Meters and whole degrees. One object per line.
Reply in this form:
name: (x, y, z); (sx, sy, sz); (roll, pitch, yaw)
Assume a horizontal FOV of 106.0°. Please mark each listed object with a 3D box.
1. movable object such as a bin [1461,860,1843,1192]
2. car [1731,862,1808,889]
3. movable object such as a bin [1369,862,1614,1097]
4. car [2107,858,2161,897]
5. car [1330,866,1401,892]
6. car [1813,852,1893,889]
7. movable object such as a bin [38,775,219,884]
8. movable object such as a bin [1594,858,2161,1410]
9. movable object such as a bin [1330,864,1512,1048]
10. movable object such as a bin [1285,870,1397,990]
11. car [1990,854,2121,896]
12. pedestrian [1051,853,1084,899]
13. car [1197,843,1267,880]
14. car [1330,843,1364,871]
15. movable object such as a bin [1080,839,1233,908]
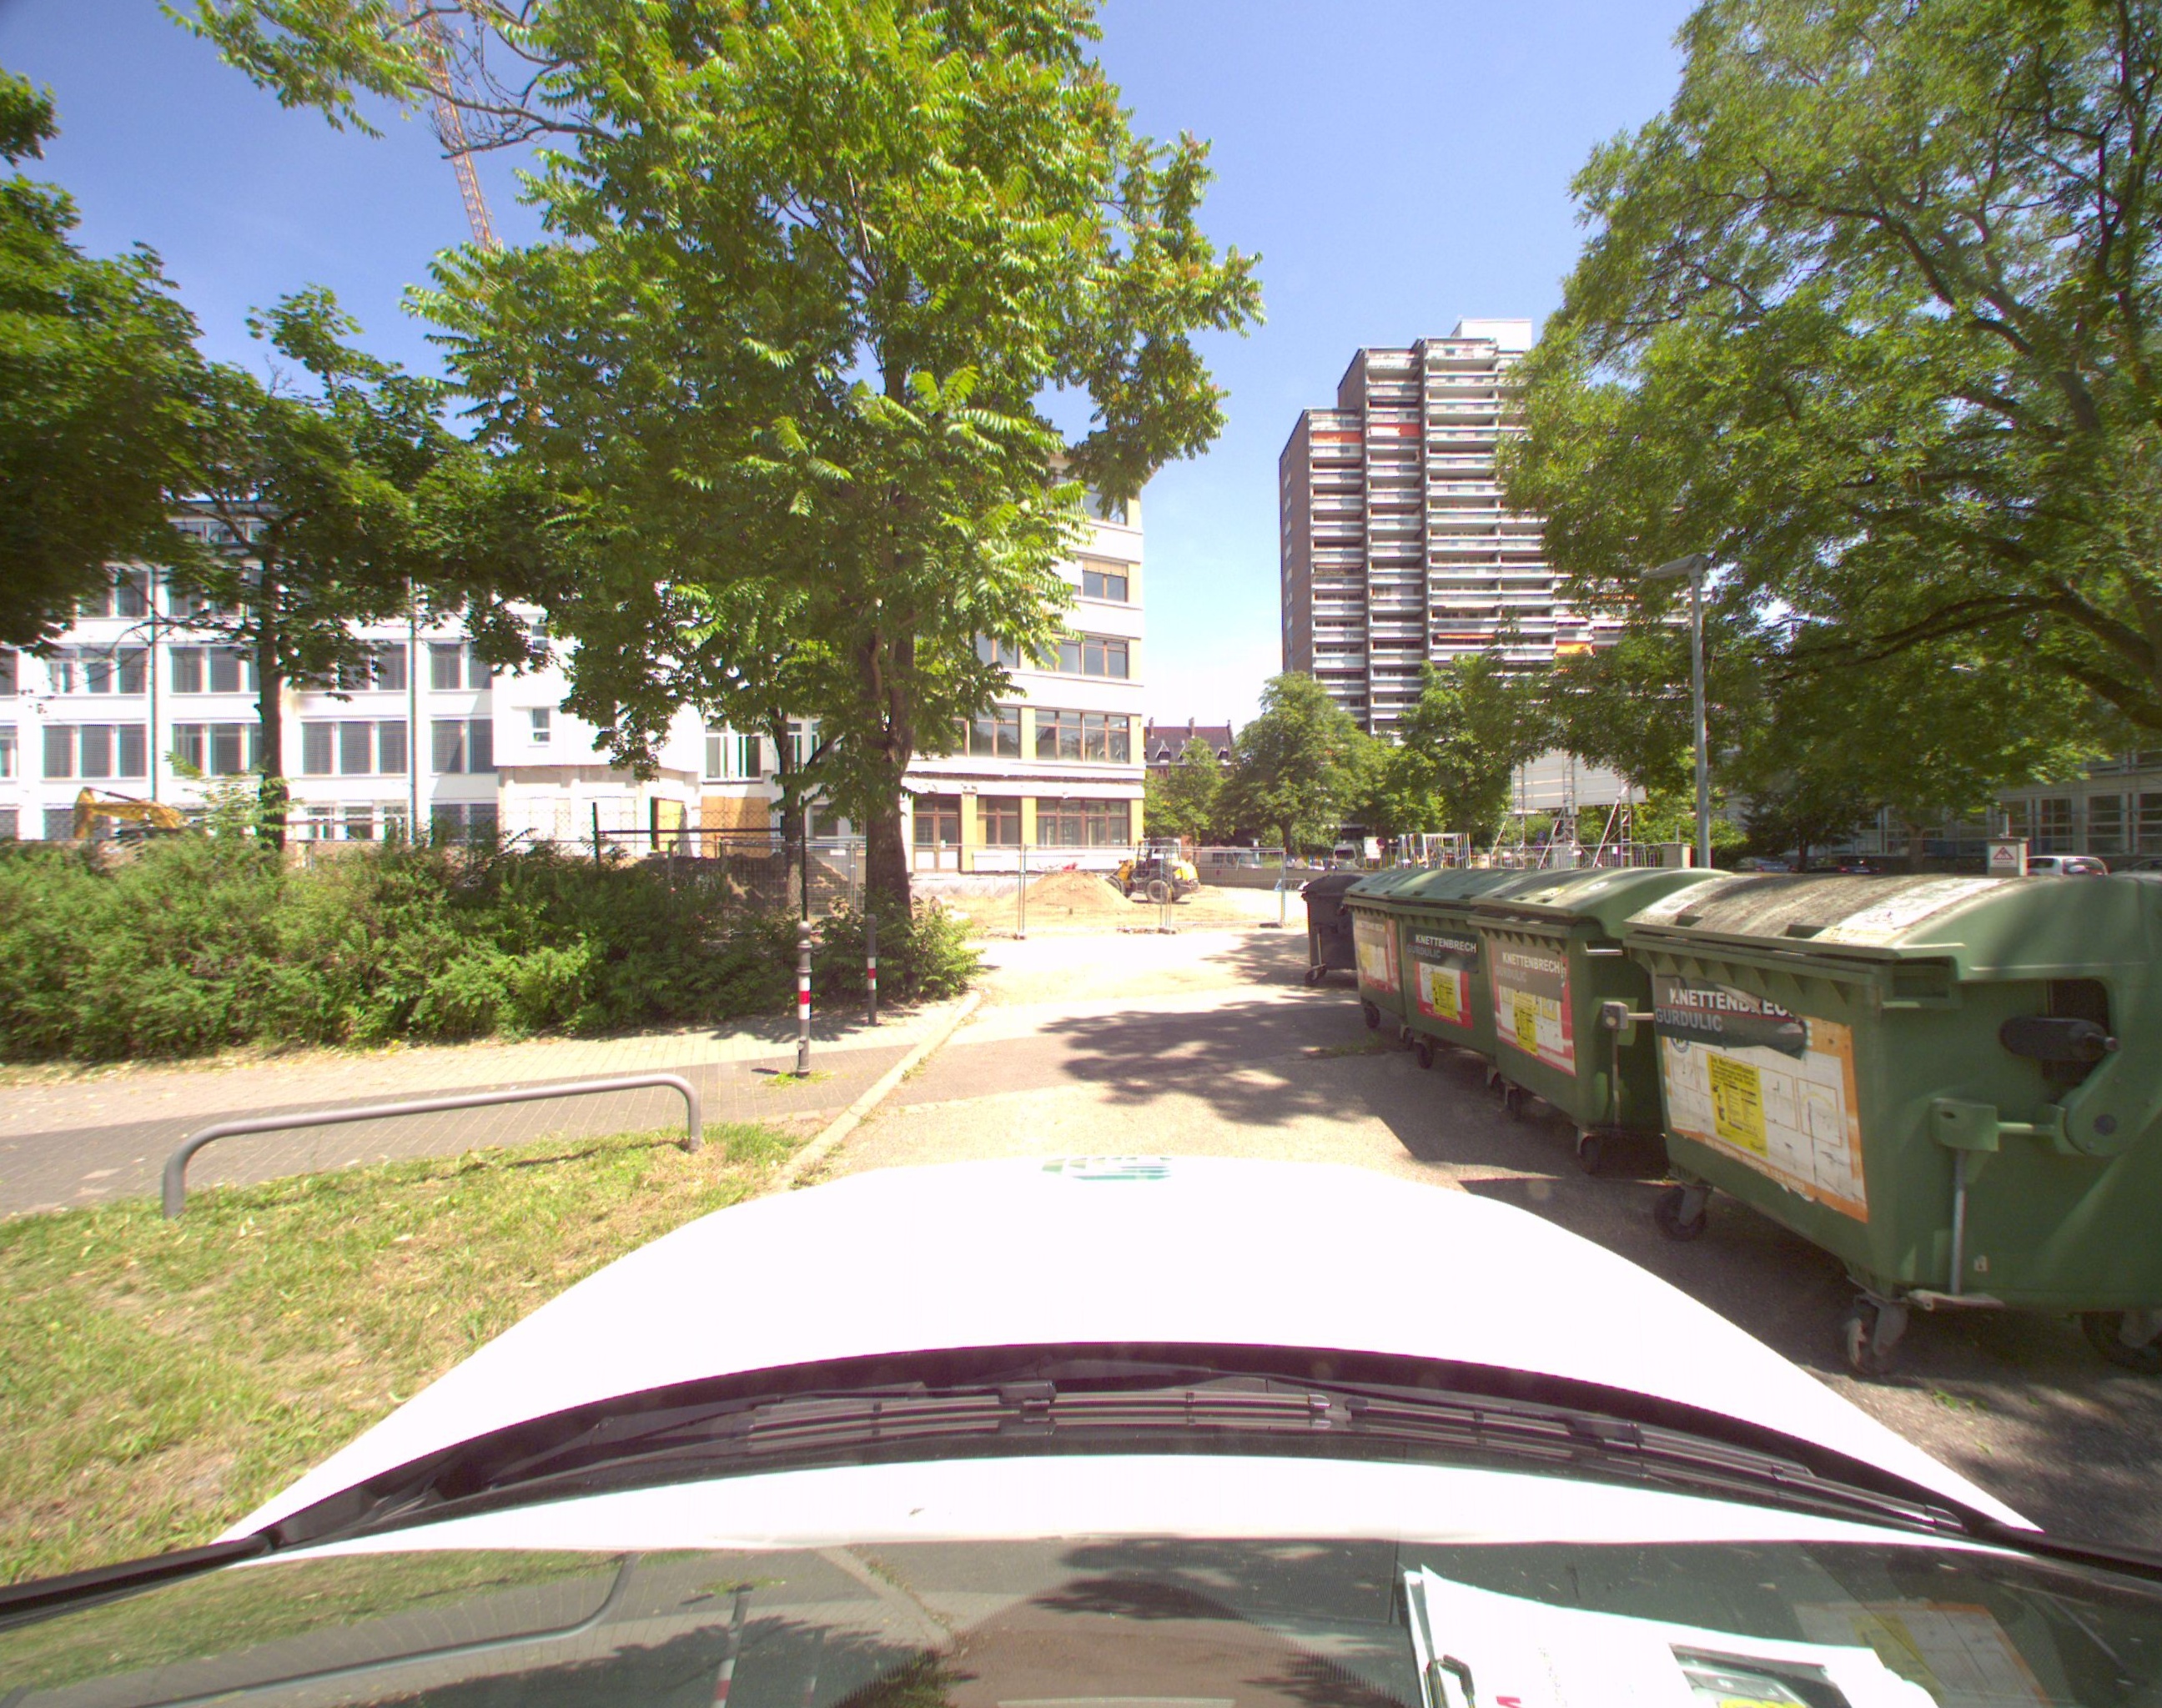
movable object such as a bin: (2.845, 0.772, 4.303); (1.071, 1.458, 1.378); (-1, -1, 3)
car: (34.885, 1.055, 41.391); (1.897, 1.310, 3.952); (-1, -1, 24)
movable object such as a bin: (2.802, 0.794, 5.778); (1.071, 1.458, 1.378); (-1, -1, 3)
car: (40.619, 0.870, 30.095); (1.650, 1.415, 3.730); (-1, -1, 21)
car: (15.731, 1.374, 45.053); (3.733, 1.320, 1.600); (0, -1, -27)
car: (36.616, 0.770, 38.741); (1.992, 1.629, 3.955); (-1, -1, 32)
movable object such as a bin: (-40.060, -0.970, 34.340); (5.676, 4.372, 2.003); (-1, -1, 5)
movable object such as a bin: (2.761, 0.753, 2.861); (1.071, 1.458, 1.378); (-1, -1, 3)
movable object such as a bin: (2.922, 0.827, 7.197); (1.071, 1.458, 1.378); (-1, -1, 3)
movable object such as a bin: (3.366, 0.945, 10.692); (1.071, 1.458, 1.378); (-1, -1, 3)
car: (39.472, 0.841, 33.120); (1.651, 1.590, 3.709); (-1, -1, 18)
pedestrian: (-0.538, 0.887, 32.982); (0.922, 1.847, 0.974); (0, -2, -44)
car: (10.251, 0.538, 55.787); (2.004, 2.416, 5.197); (0, -1, -27)
car: (22.088, 0.279, 67.403); (2.165, 2.258, 4.896); (-1, -1, 24)
movable object such as a bin: (2.901, 0.699, 31.534); (5.353, 2.464, 2.382); (1, 0, 27)
